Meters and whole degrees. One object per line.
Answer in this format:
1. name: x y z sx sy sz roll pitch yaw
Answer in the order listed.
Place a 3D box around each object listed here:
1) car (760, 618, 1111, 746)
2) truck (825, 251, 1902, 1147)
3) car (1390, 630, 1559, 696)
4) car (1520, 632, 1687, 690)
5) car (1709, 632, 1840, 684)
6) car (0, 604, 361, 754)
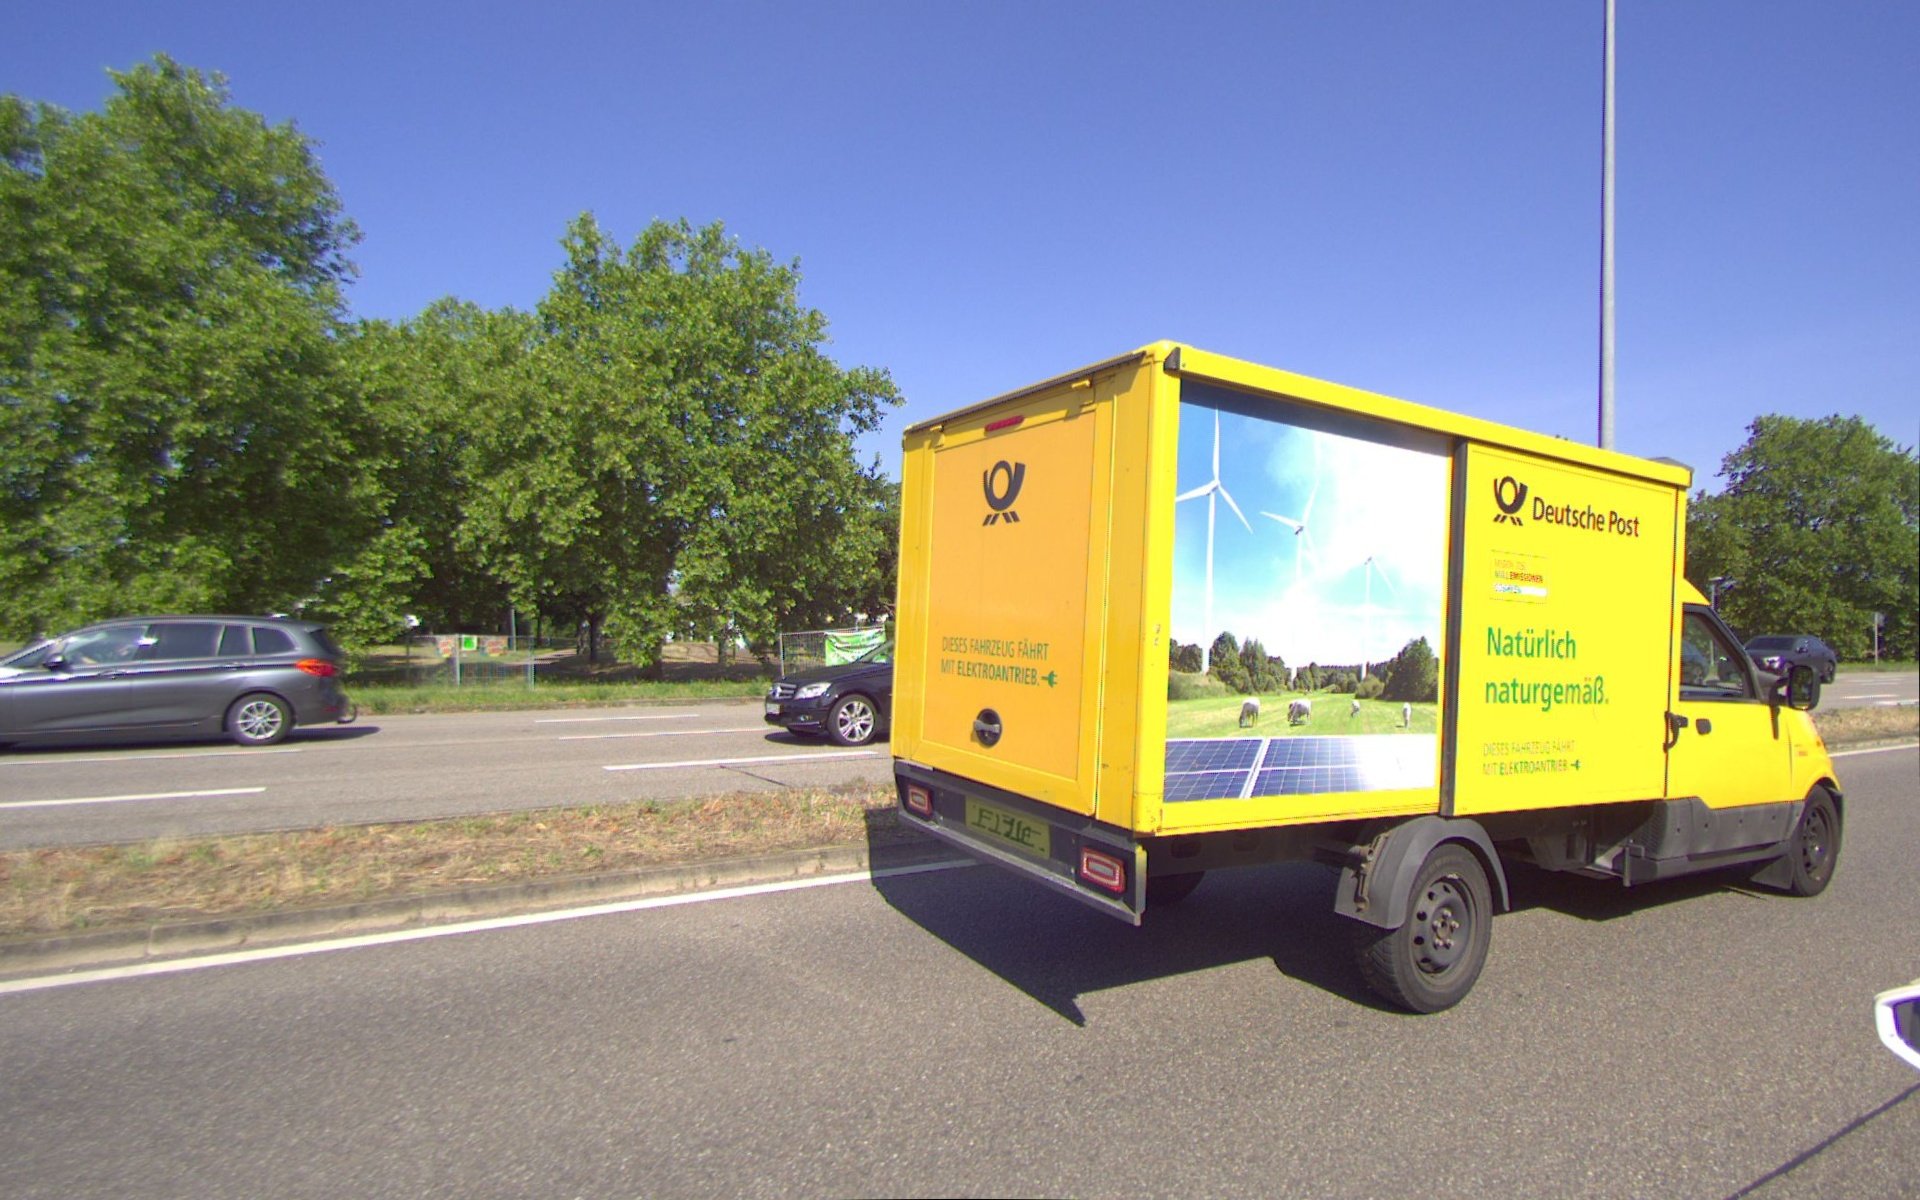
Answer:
1. car: -0.288 1.057 13.644 4.399 1.476 1.972 2 -4 -31
2. truck: 2.431 0.352 5.222 5.849 2.490 2.101 2 -1 -31
3. car: 13.278 1.585 25.885 4.355 1.565 1.854 2 -3 -31
4. car: 18.764 1.740 29.285 4.624 1.549 2.064 1 -2 -27
5. car: 27.684 1.946 34.140 4.501 1.681 1.973 2 -2 -30
6. car: -10.056 0.945 12.472 4.438 1.643 2.061 2 -3 -31
